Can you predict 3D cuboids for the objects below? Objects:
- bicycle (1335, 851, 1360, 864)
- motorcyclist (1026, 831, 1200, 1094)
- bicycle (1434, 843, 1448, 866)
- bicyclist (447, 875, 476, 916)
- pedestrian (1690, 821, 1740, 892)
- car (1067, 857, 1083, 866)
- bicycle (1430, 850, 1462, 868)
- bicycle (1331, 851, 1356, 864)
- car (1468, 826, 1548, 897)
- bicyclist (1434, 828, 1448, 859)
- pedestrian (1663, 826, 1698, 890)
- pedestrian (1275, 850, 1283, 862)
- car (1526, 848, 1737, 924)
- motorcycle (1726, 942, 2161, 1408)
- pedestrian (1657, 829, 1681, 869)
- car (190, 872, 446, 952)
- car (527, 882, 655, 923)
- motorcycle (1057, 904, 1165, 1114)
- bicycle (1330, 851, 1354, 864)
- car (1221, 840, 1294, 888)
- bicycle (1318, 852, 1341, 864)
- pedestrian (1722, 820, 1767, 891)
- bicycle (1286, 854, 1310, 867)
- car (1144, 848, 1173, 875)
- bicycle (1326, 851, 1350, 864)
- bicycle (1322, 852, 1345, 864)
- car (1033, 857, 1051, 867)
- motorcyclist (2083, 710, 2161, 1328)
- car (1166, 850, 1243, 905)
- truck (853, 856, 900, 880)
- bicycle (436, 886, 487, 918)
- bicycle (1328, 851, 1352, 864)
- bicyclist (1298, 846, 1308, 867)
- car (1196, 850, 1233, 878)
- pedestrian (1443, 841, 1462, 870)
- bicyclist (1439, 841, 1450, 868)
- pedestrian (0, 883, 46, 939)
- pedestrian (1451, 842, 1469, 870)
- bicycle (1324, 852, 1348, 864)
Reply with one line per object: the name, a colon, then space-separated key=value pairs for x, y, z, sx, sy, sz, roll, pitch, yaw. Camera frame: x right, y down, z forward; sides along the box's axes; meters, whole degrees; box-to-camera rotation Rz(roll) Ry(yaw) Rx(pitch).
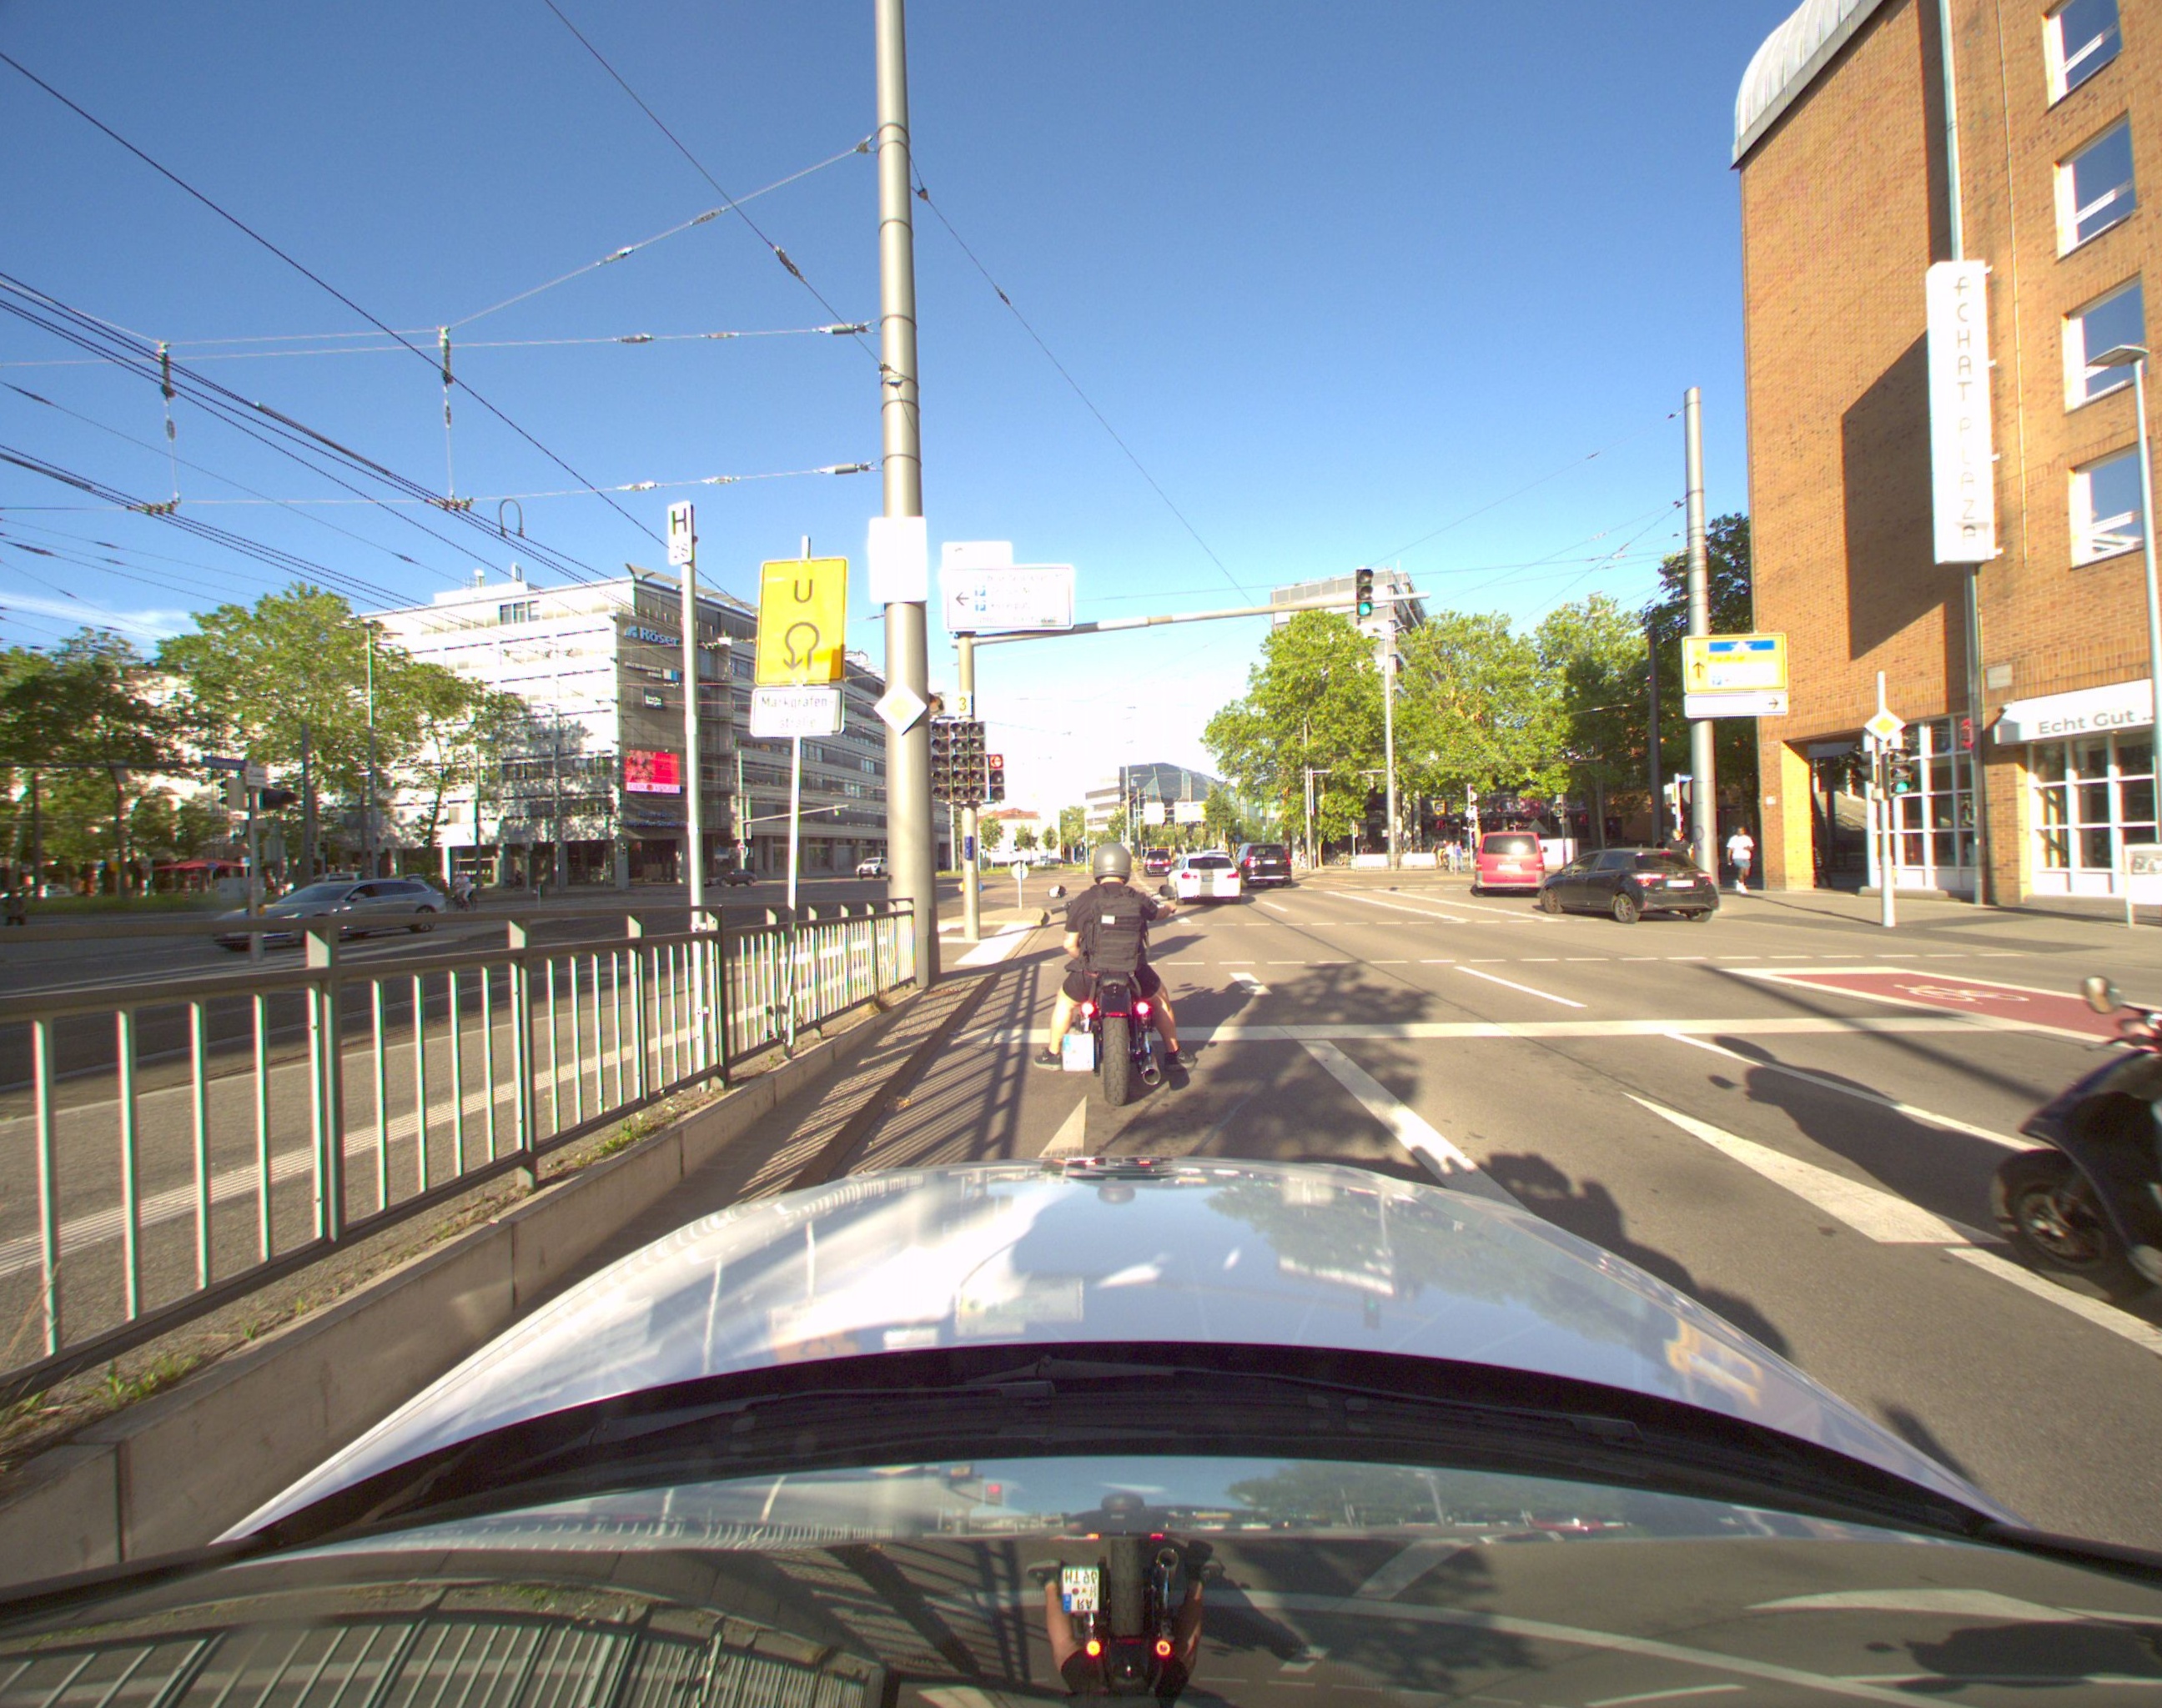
bicycle: x=21.399 y=0.252 z=65.379 sx=1.874 sy=1.046 sz=0.360 roll=0 pitch=-1 yaw=1
motorcyclist: x=0.207 y=0.666 z=5.443 sx=1.027 sy=1.593 sz=0.874 roll=-2 pitch=0 yaw=1
bicycle: x=21.439 y=0.040 z=48.459 sx=0.719 sy=1.367 sz=2.934 roll=-1 pitch=-1 yaw=24
bicyclist: x=-23.443 y=1.560 z=30.815 sx=0.584 sy=1.534 sz=0.650 roll=0 pitch=-1 yaw=2
pedestrian: x=16.564 y=0.078 z=21.290 sx=0.591 sy=1.780 sz=0.681 roll=-5 pitch=-2 yaw=-1
car: x=-1.029 y=1.353 z=146.008 sx=1.812 sy=1.430 sz=4.256 roll=-1 pitch=-1 yaw=13
bicycle: x=25.149 y=0.321 z=56.141 sx=2.034 sy=1.214 sz=0.421 roll=0 pitch=-1 yaw=2
bicycle: x=21.325 y=0.274 z=66.162 sx=1.874 sy=1.046 sz=0.360 roll=0 pitch=-1 yaw=1
car: x=13.210 y=0.212 z=25.424 sx=1.787 sy=2.008 sz=4.497 roll=0 pitch=0 yaw=22
bicyclist: x=21.407 y=-0.632 z=48.390 sx=0.690 sy=1.808 sz=0.733 roll=-1 pitch=-1 yaw=25
pedestrian: x=17.021 y=0.121 z=23.110 sx=0.727 sy=1.792 sz=0.515 roll=-1 pitch=-1 yaw=42
pedestrian: x=21.978 y=0.237 z=90.428 sx=0.814 sy=1.314 sz=0.640 roll=-1 pitch=-1 yaw=10
car: x=11.630 y=0.596 z=17.578 sx=1.727 sy=1.450 sz=4.037 roll=0 pitch=0 yaw=-2
motorcycle: x=3.172 y=0.892 z=2.346 sx=0.801 sy=1.050 sz=2.377 roll=0 pitch=-1 yaw=2
pedestrian: x=25.141 y=-0.204 z=34.810 sx=0.634 sy=1.700 sz=0.727 roll=-1 pitch=-1 yaw=21
car: x=-18.066 y=1.280 z=19.674 sx=1.820 sy=1.568 sz=4.690 roll=-2 pitch=-1 yaw=-2
car: x=-13.849 y=1.349 z=23.160 sx=2.884 sy=1.063 sz=1.235 roll=0 pitch=-1 yaw=-19
motorcycle: x=0.205 y=0.945 z=5.704 sx=0.598 sy=1.036 sz=2.235 roll=0 pitch=0 yaw=2
bicycle: x=21.474 y=0.296 z=66.975 sx=1.874 sy=1.046 sz=0.360 roll=0 pitch=-1 yaw=1
car: x=6.875 y=0.349 z=32.165 sx=1.727 sy=1.732 sz=4.608 roll=0 pitch=0 yaw=-2
bicycle: x=21.460 y=0.322 z=70.302 sx=1.874 sy=1.046 sz=0.360 roll=0 pitch=0 yaw=1
pedestrian: x=17.253 y=0.044 z=21.182 sx=0.588 sy=1.780 sz=0.684 roll=-3 pitch=-1 yaw=13
bicycle: x=17.334 y=0.538 z=65.057 sx=1.854 sy=1.044 sz=0.540 roll=-1 pitch=-1 yaw=20
car: x=4.988 y=0.482 z=52.919 sx=1.795 sy=1.678 sz=4.046 roll=0 pitch=-1 yaw=5
bicycle: x=21.494 y=0.323 z=68.164 sx=1.874 sy=1.046 sz=0.360 roll=0 pitch=-1 yaw=1
bicycle: x=21.462 y=0.316 z=69.150 sx=1.874 sy=1.046 sz=0.360 roll=0 pitch=0 yaw=1
car: x=-5.902 y=1.264 z=124.662 sx=1.814 sy=1.430 sz=4.542 roll=-2 pitch=0 yaw=9
motorcyclist: x=3.152 y=0.419 z=1.958 sx=0.793 sy=1.580 sz=0.529 roll=0 pitch=-1 yaw=1
car: x=3.542 y=0.652 z=23.984 sx=1.725 sy=1.457 sz=4.419 roll=0 pitch=-1 yaw=2
truck: x=-17.789 y=1.175 z=71.072 sx=1.982 sy=1.880 sz=5.167 roll=-4 pitch=-1 yaw=8
bicycle: x=-23.501 y=1.799 z=30.947 sx=0.458 sy=1.090 sz=1.815 roll=-3 pitch=-1 yaw=2
bicycle: x=21.461 y=0.315 z=67.532 sx=1.874 sy=1.046 sz=0.360 roll=0 pitch=0 yaw=1
bicyclist: x=17.700 y=0.212 z=64.927 sx=0.682 sy=1.673 sz=0.544 roll=-2 pitch=-2 yaw=21
car: x=7.983 y=0.556 z=48.987 sx=1.725 sy=1.598 sz=4.043 roll=0 pitch=0 yaw=2
pedestrian: x=20.335 y=0.085 z=44.570 sx=0.569 sy=1.532 sz=0.695 roll=0 pitch=-1 yaw=-31
bicyclist: x=25.077 y=0.013 z=56.153 sx=0.582 sy=1.837 sz=0.403 roll=0 pitch=-1 yaw=1
pedestrian: x=-33.171 y=1.768 z=25.457 sx=0.587 sy=1.691 sz=0.795 roll=0 pitch=-1 yaw=2
pedestrian: x=20.866 y=0.112 z=44.865 sx=0.570 sy=1.479 sz=0.695 roll=0 pitch=-1 yaw=-32
bicycle: x=21.509 y=0.316 z=68.649 sx=1.874 sy=1.046 sz=0.360 roll=0 pitch=0 yaw=1
